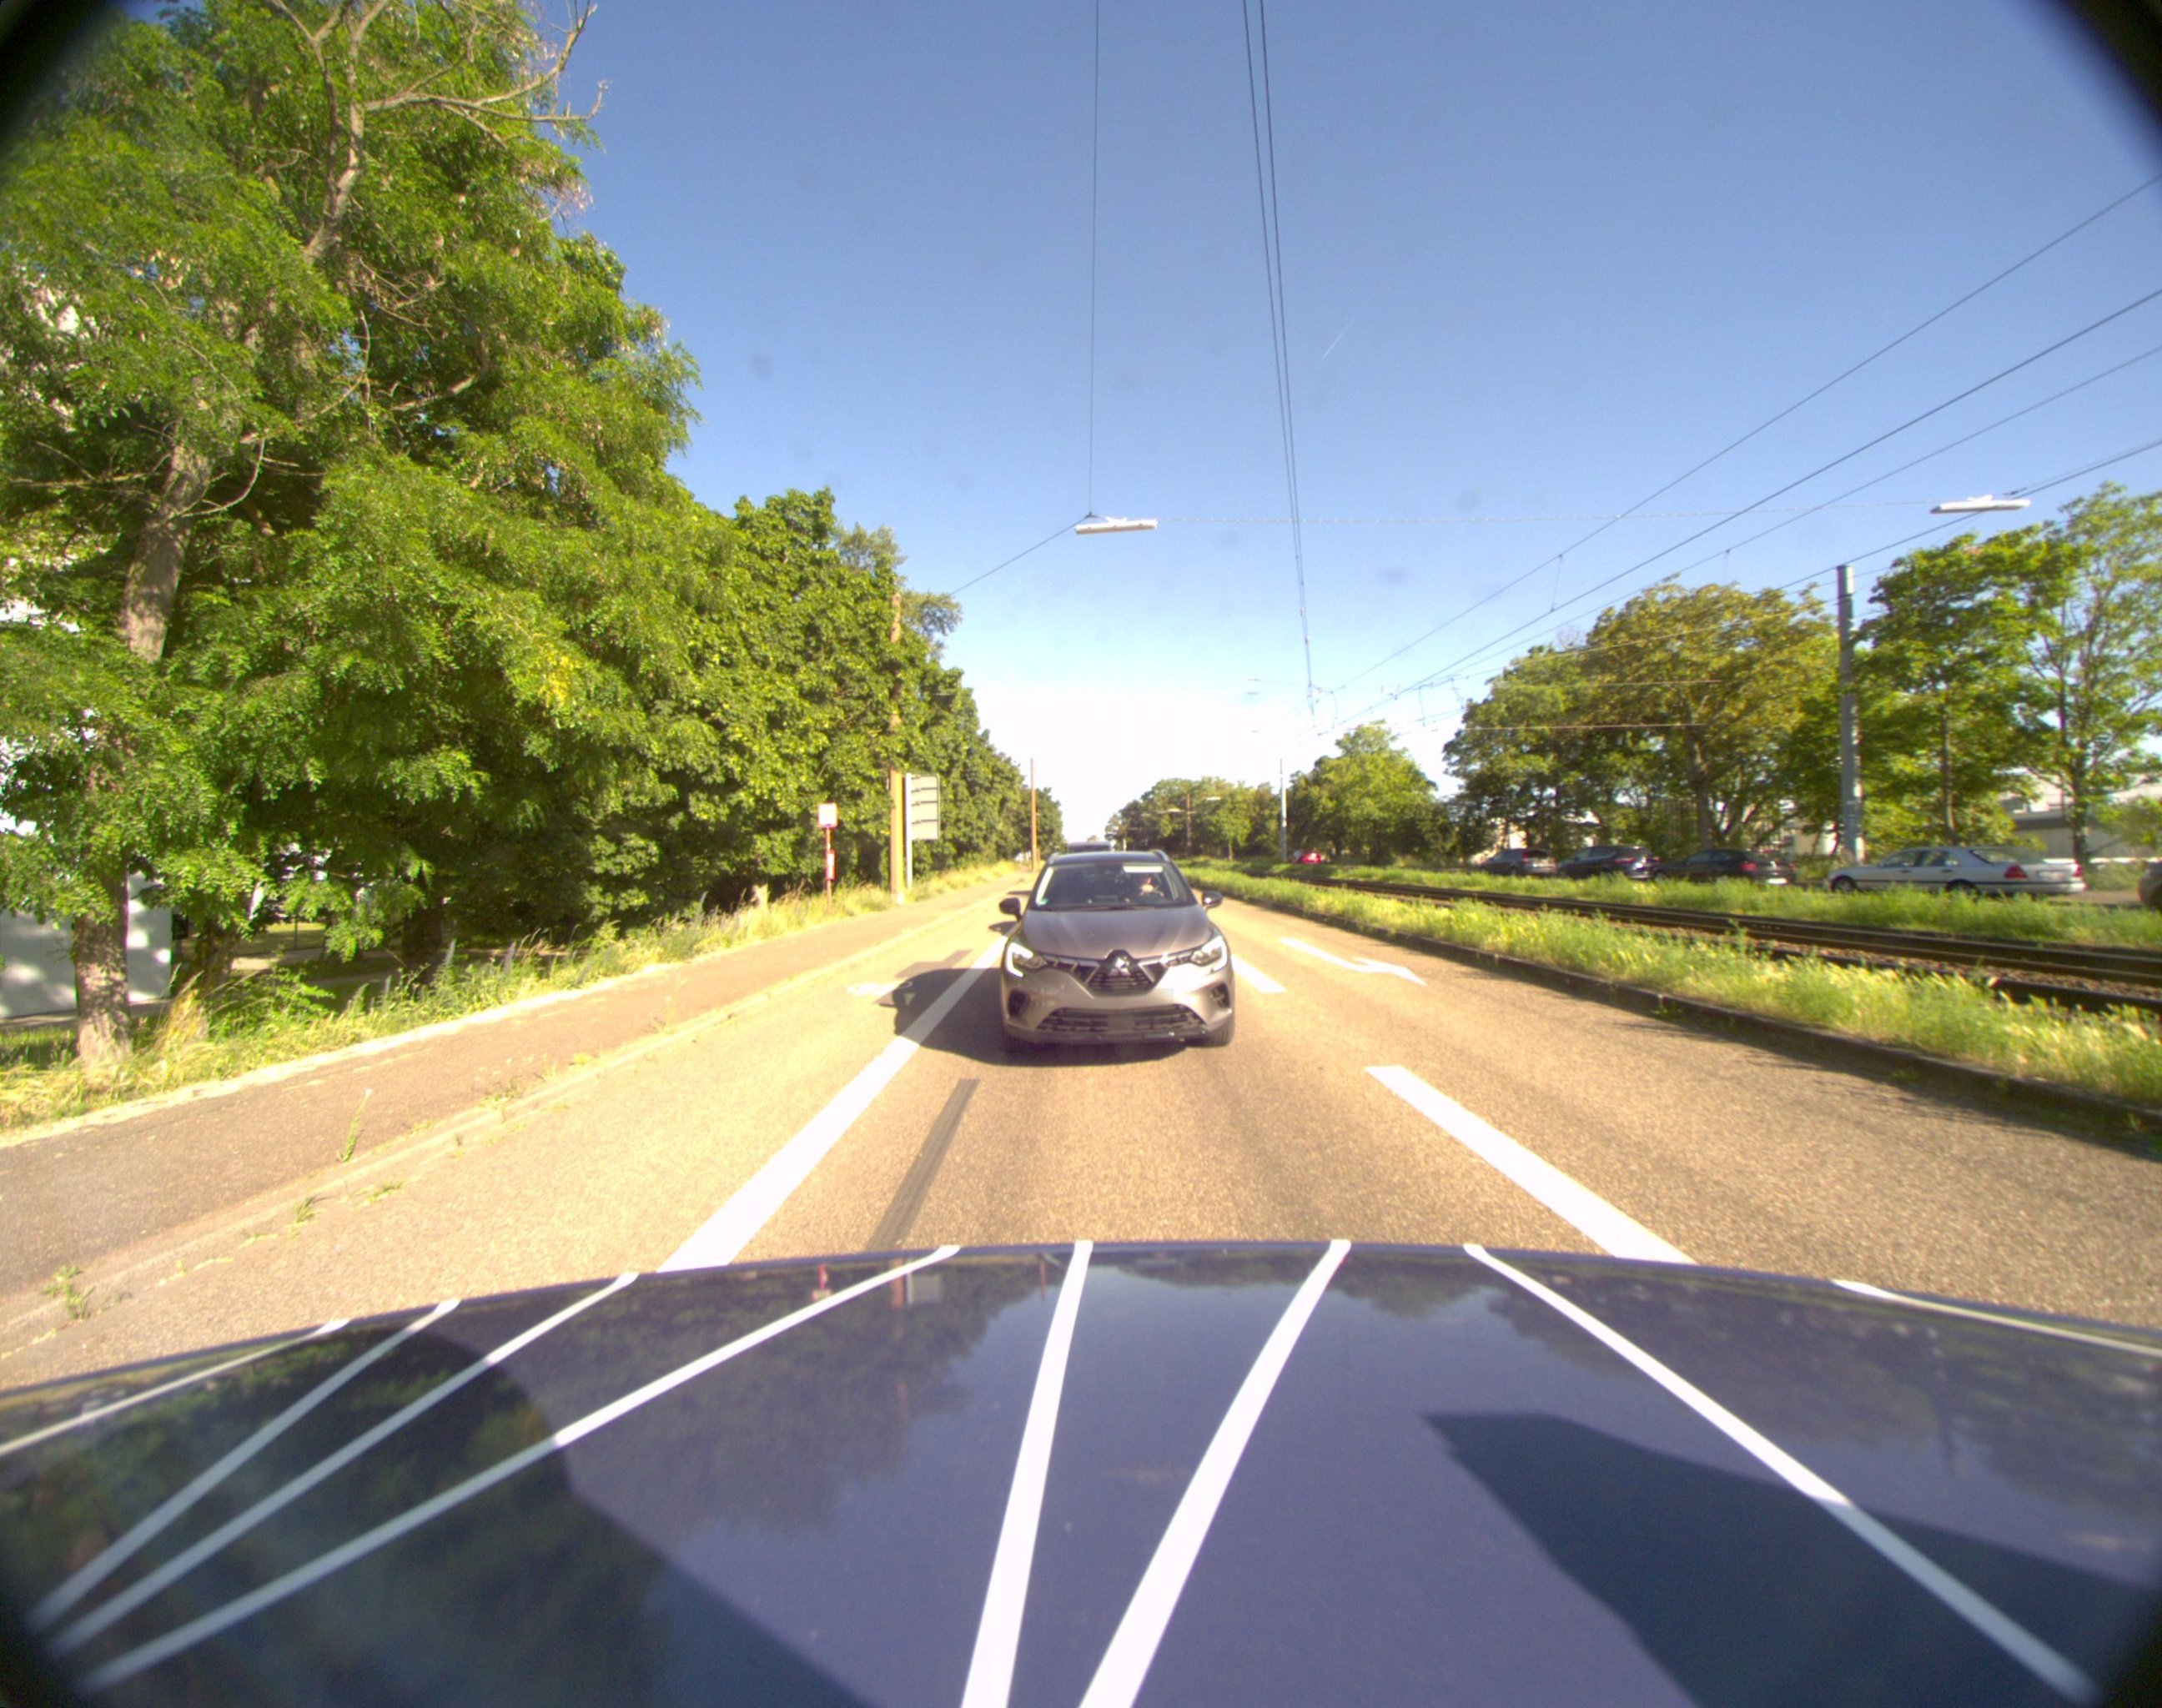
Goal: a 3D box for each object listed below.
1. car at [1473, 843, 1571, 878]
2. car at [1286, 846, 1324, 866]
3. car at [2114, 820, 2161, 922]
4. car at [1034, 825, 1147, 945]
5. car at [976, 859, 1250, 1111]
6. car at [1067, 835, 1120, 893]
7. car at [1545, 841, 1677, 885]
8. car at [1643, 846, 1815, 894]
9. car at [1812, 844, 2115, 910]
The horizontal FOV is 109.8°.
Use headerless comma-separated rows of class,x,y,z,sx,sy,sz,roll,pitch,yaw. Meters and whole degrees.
car,21.556,0.330,37.406,2.130,1.554,4.560,-2,0,0
car,20.990,0.190,71.464,2.321,1.723,4.798,-2,0,3
car,21.236,0.280,12.472,2.207,1.923,4.685,-2,0,2
car,0.202,0.571,15.834,1.998,2.113,4.000,-2,0,1
car,0.173,0.884,7.314,1.796,1.583,4.529,-1,0,-1
car,0.437,0.416,31.586,1.999,2.198,4.786,-1,-1,-1
car,21.298,0.346,30.823,2.130,1.578,4.616,-2,0,1
car,21.336,0.492,25.326,1.960,1.417,4.488,-2,0,1
car,21.537,0.508,18.932,2.130,1.372,4.616,-2,0,-1
